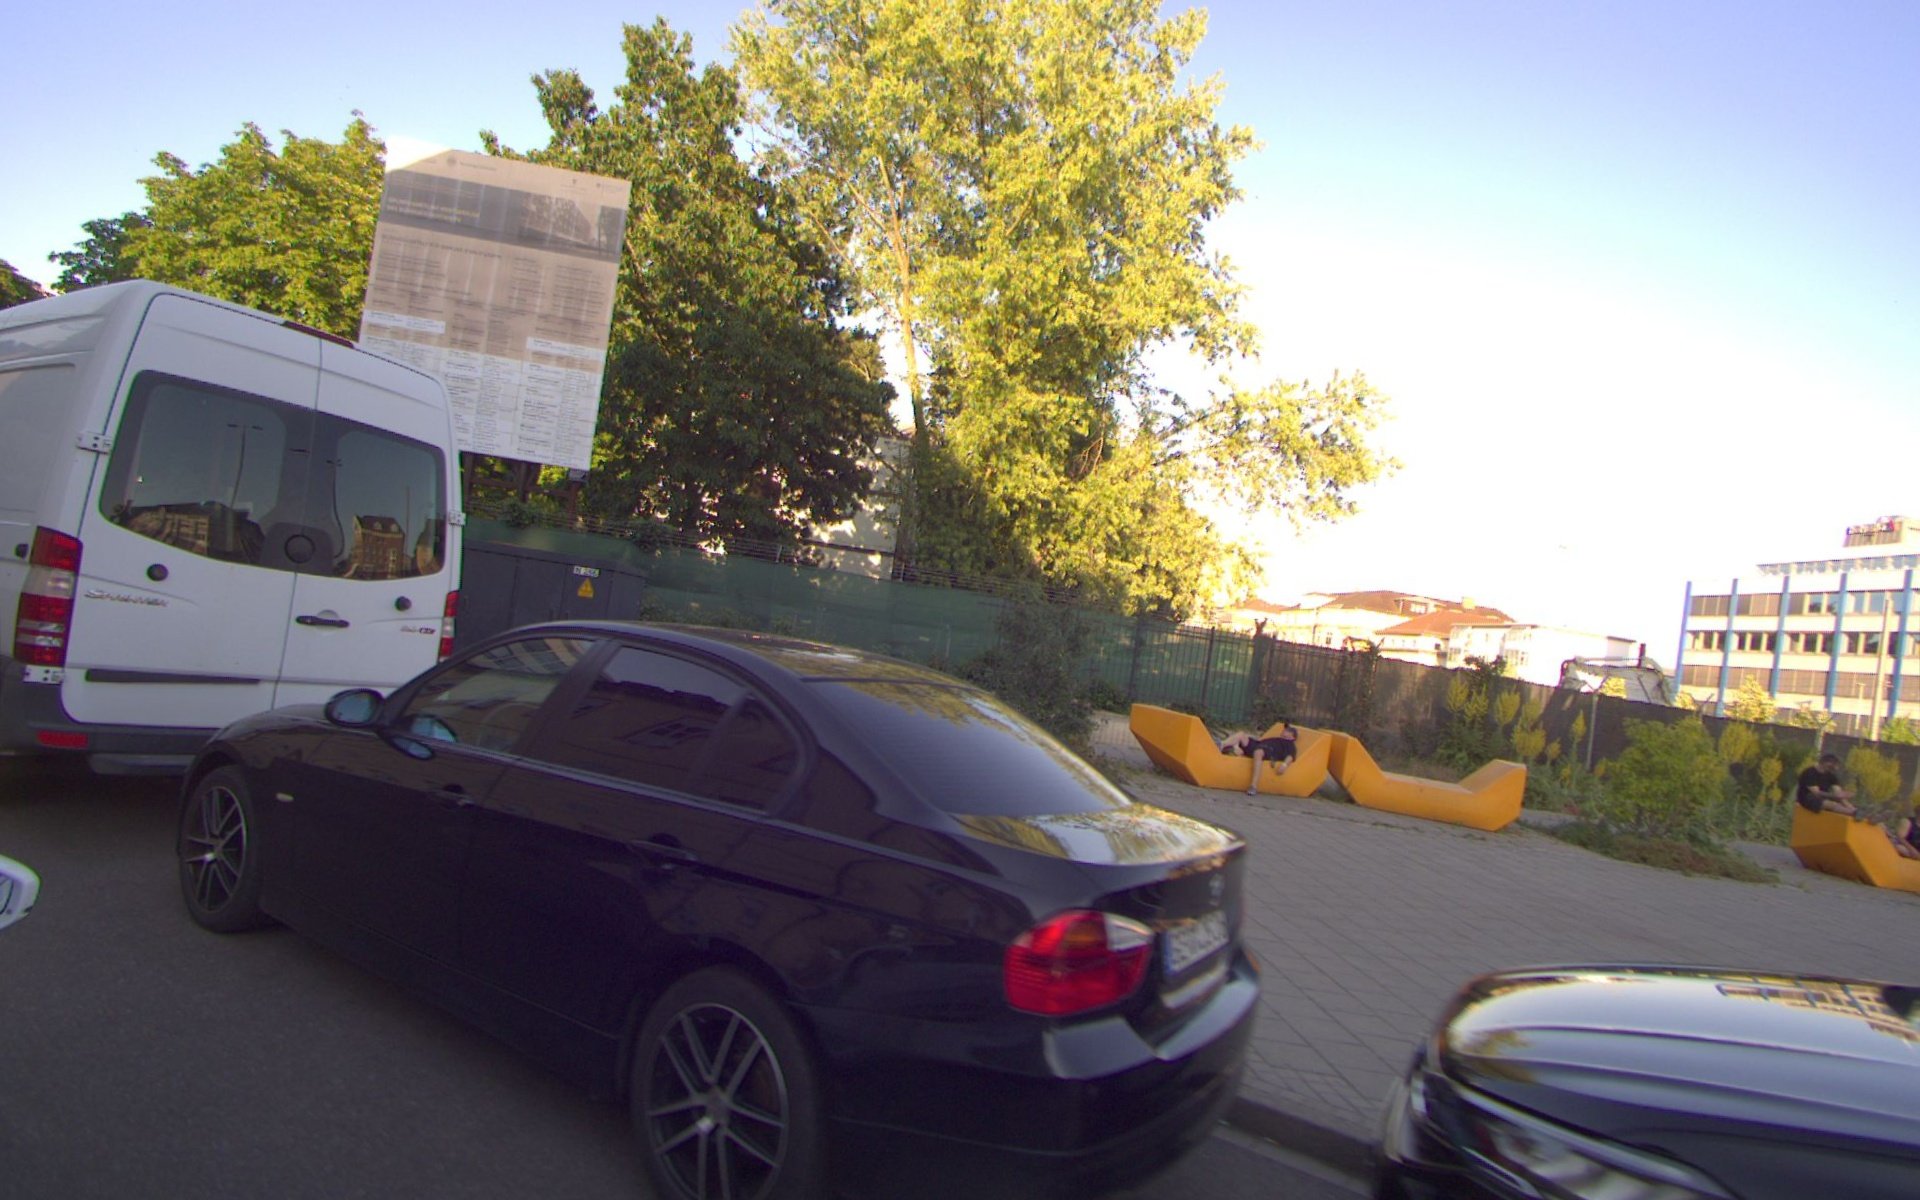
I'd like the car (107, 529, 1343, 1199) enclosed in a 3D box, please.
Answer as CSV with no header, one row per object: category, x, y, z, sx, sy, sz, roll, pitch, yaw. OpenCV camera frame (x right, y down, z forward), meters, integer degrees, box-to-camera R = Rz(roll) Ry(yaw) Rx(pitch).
car,-1.125,0.754,3.736,4.400,1.445,1.733,7,-3,32

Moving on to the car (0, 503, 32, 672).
car,-10.509,-0.404,9.345,4.032,1.476,1.696,7,-3,33

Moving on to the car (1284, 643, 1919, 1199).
car,2.791,1.170,1.369,4.218,1.561,1.783,7,-2,30

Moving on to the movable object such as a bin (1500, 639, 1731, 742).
movable object such as a bin,18.030,2.482,28.011,4.934,2.037,2.001,8,-1,24

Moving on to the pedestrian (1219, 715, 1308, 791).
pedestrian,4.297,2.163,14.258,0.969,0.903,0.559,9,-2,-22

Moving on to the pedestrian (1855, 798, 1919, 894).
pedestrian,13.627,3.530,14.343,0.721,1.171,0.991,8,-2,-1

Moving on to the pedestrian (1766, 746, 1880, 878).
pedestrian,12.617,3.078,14.730,0.750,1.684,0.822,8,-1,0

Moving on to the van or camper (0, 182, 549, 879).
van or camper,-5.725,-0.464,6.630,6.345,2.806,2.081,7,-2,34
